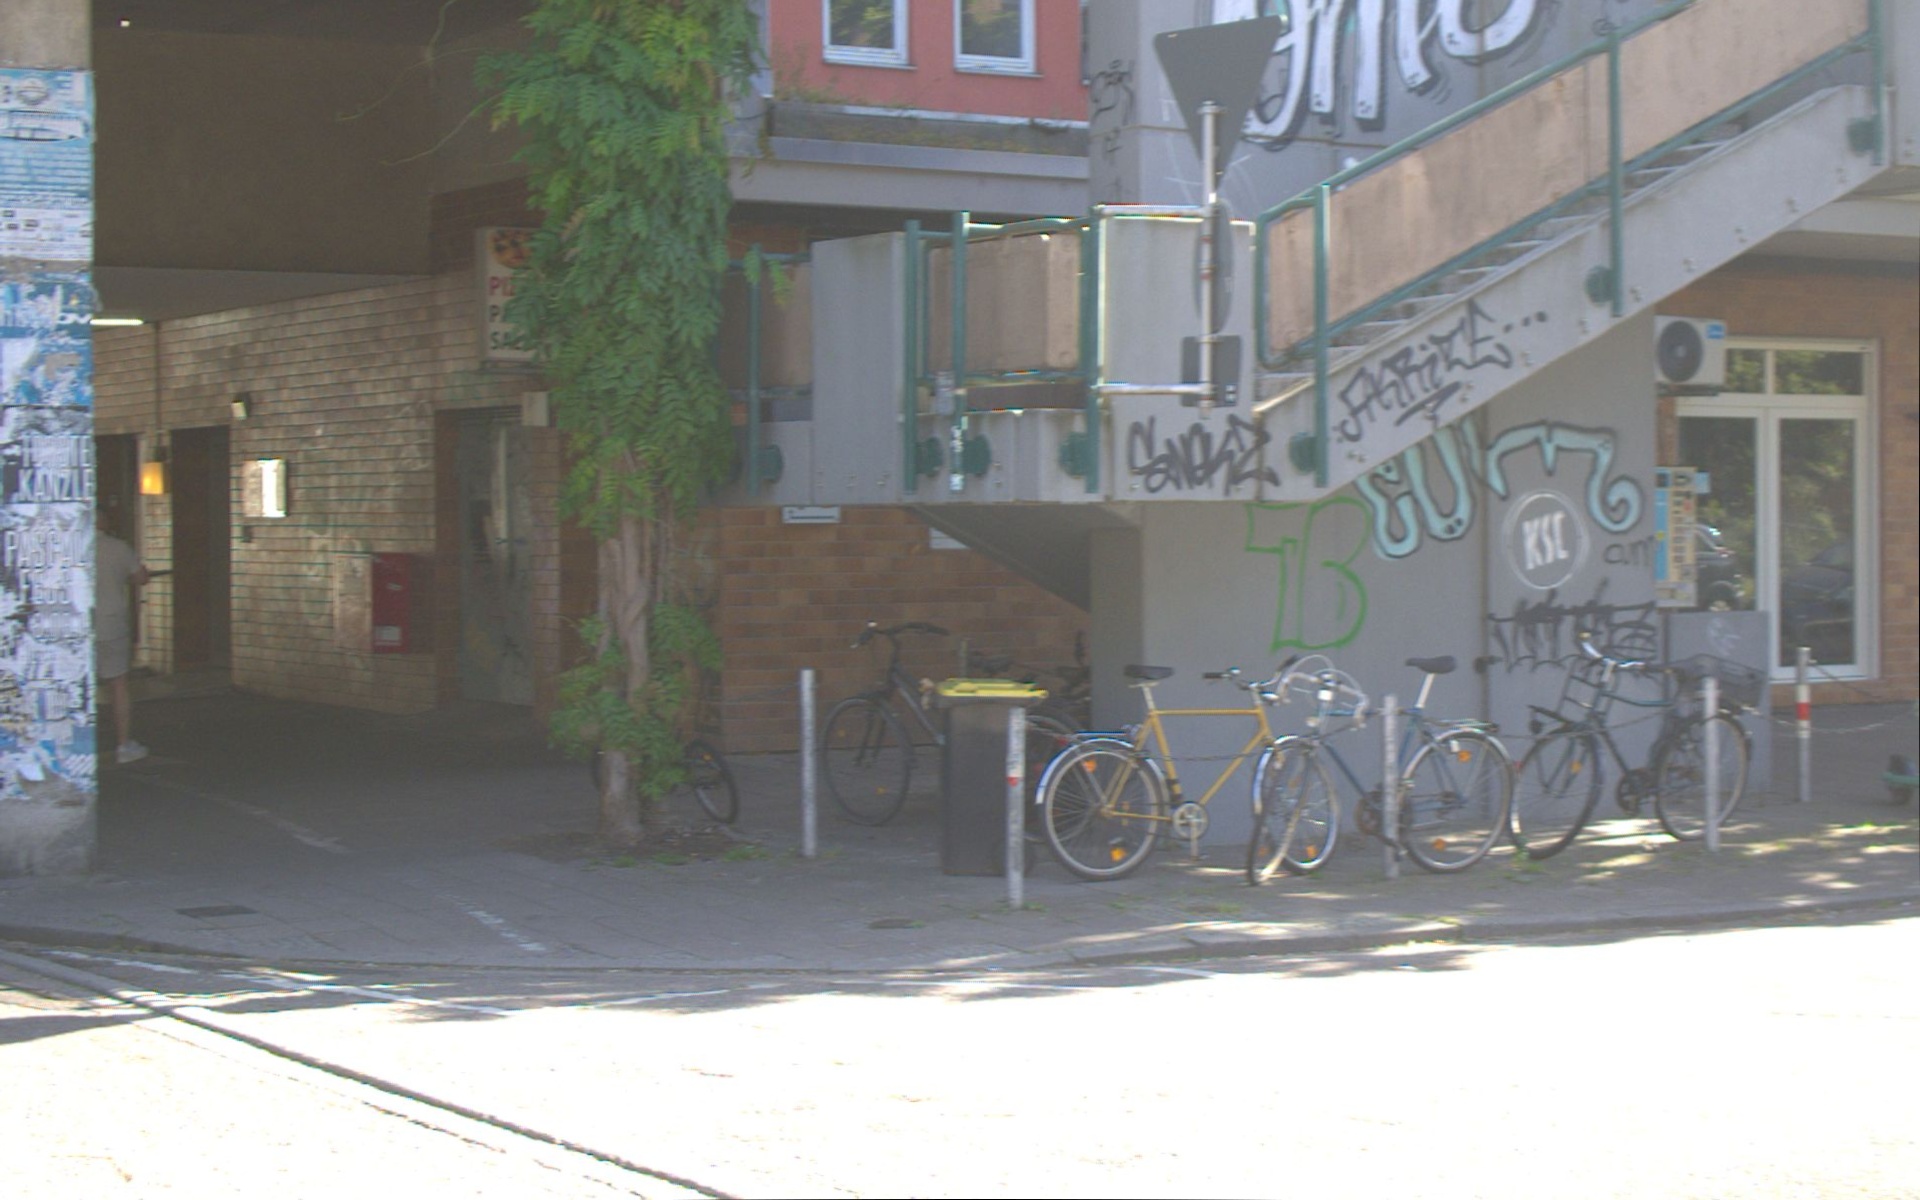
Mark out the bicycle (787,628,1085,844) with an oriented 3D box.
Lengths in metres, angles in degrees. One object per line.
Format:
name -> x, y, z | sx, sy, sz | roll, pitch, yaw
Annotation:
bicycle -> -0.137, 0.687, 17.821 | 1.616, 0.997, 0.414 | 2, 4, 36

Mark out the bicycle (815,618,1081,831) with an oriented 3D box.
bicycle -> -0.086, 0.651, 18.618 | 0.414, 0.997, 1.802 | -3, 4, -38

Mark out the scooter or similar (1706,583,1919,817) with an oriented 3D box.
scooter or similar -> 5.281, 0.558, 19.871 | 0.629, 1.272, 1.973 | -2, 2, -36

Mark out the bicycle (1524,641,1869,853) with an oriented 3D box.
bicycle -> 3.825, 0.748, 17.829 | 1.796, 0.997, 0.415 | -1, 4, -21

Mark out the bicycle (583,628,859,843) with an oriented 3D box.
bicycle -> -1.272, 0.683, 17.989 | 0.483, 0.997, 1.801 | -3, 3, -39

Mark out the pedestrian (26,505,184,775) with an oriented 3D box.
pedestrian -> -5.587, 0.244, 22.453 | 0.794, 1.693, 0.758 | -1, 4, -32

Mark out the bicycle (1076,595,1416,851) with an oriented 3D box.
bicycle -> 1.432, 0.605, 17.250 | 1.628, 1.233, 0.460 | -1, 1, -9

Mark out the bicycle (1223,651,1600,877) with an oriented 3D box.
bicycle -> 2.217, 0.793, 16.879 | 1.795, 1.027, 0.415 | -1, 4, -15
